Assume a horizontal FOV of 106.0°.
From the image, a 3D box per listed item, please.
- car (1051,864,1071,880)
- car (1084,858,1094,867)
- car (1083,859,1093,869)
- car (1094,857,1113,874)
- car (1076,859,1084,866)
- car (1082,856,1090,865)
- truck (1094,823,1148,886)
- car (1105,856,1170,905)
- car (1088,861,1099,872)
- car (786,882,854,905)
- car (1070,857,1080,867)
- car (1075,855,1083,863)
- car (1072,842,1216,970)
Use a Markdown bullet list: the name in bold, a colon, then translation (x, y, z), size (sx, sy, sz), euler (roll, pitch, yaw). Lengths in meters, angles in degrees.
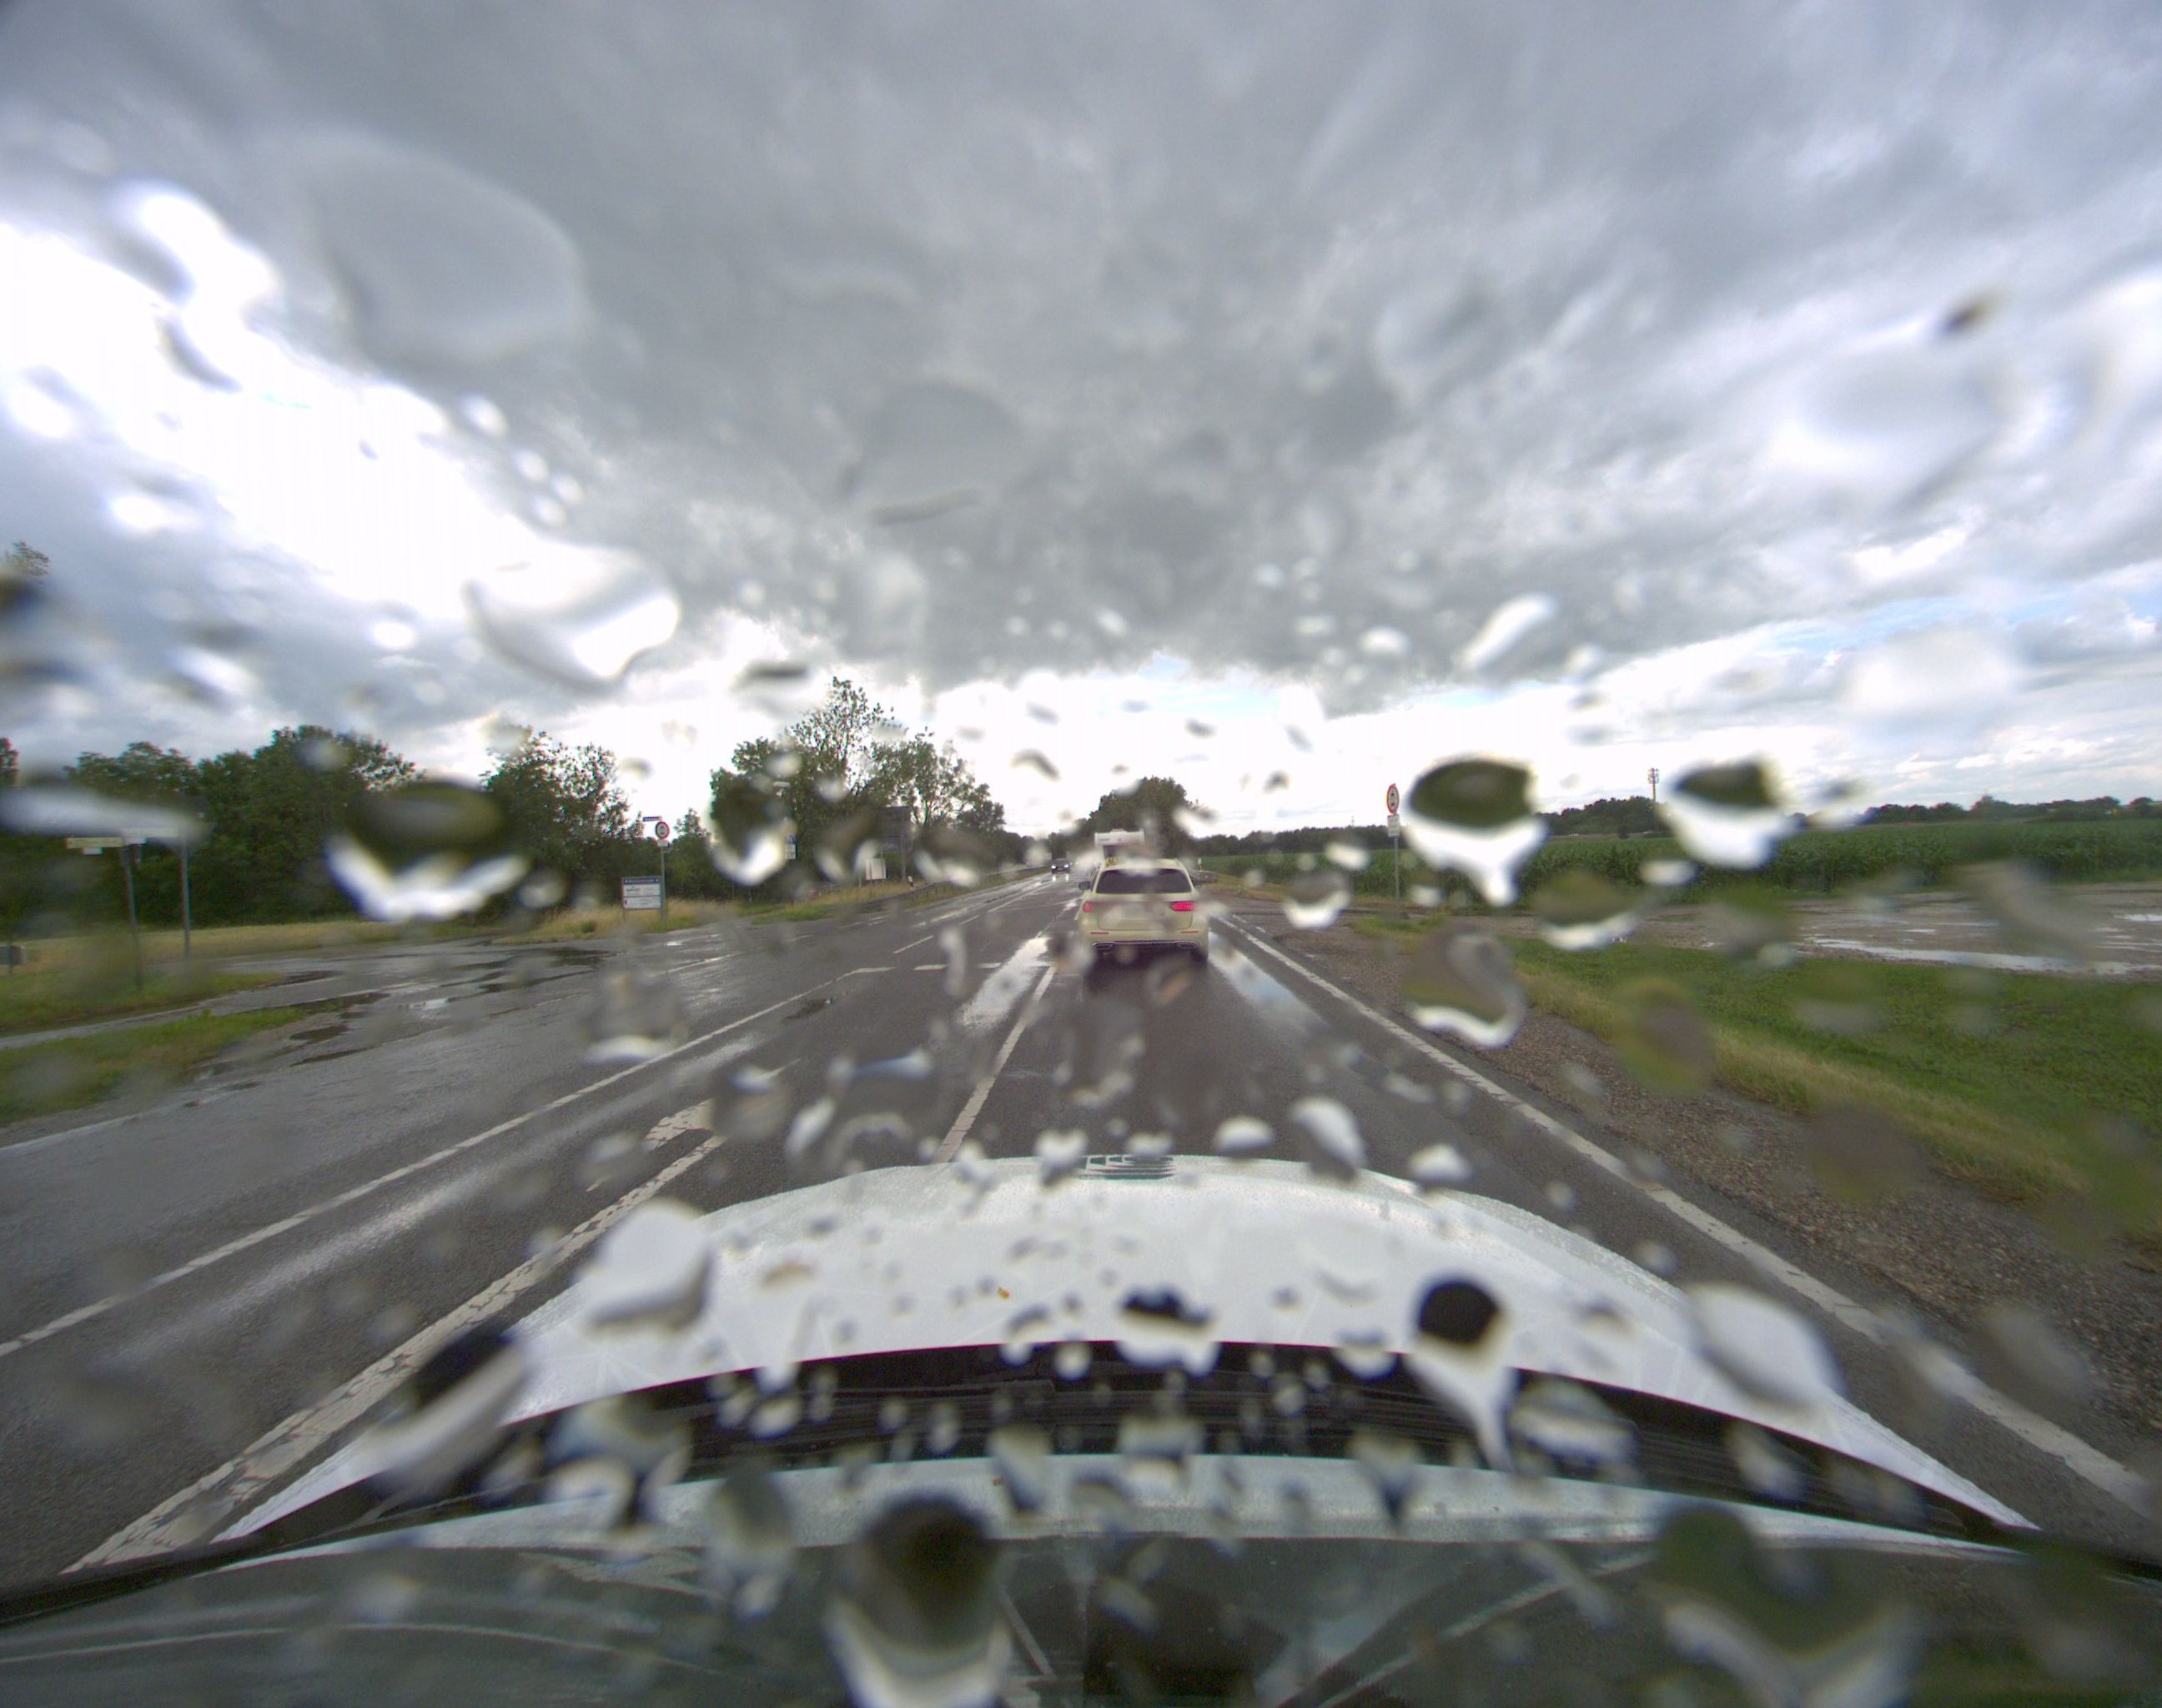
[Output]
- **car**: translation (-2.064, 1.870, 85.993), size (1.821, 1.574, 4.002), euler (0, -1, 2)
- **car**: translation (1.558, 1.671, 159.691), size (1.872, 1.761, 3.835), euler (-2, 0, 2)
- **car**: translation (1.421, 2.093, 168.186), size (1.845, 2.013, 3.812), euler (-2, 0, 2)
- **car**: translation (2.675, 1.371, 95.594), size (1.907, 1.841, 3.800), euler (-2, 0, 4)
- **car**: translation (-0.235, 2.138, 200.682), size (1.744, 1.662, 3.669), euler (-2, 0, -2)
- **car**: translation (1.156, 1.552, 191.446), size (1.733, 1.860, 3.786), euler (-2, 0, 2)
- **truck**: translation (1.924, 0.026, 40.364), size (2.354, 2.729, 7.317), euler (-2, 0, 2)
- **car**: translation (1.783, 0.821, 26.821), size (1.986, 1.462, 4.001), euler (0, 0, 2)
- **car**: translation (2.159, 2.076, 141.088), size (1.784, 1.777, 3.722), euler (-2, 0, 2)
- **car**: translation (-19.139, 2.864, 59.872), size (2.282, 1.547, 4.656), euler (-1, -1, 22)
- **car**: translation (-1.011, 1.412, 140.093), size (1.574, 1.640, 3.443), euler (-2, 0, 1)
- **car**: translation (-0.534, 1.370, 209.364), size (1.890, 1.895, 3.841), euler (-2, 0, -1)
- **car**: translation (0.882, 0.685, 12.542), size (1.836, 1.618, 4.002), euler (-1, 0, 2)
